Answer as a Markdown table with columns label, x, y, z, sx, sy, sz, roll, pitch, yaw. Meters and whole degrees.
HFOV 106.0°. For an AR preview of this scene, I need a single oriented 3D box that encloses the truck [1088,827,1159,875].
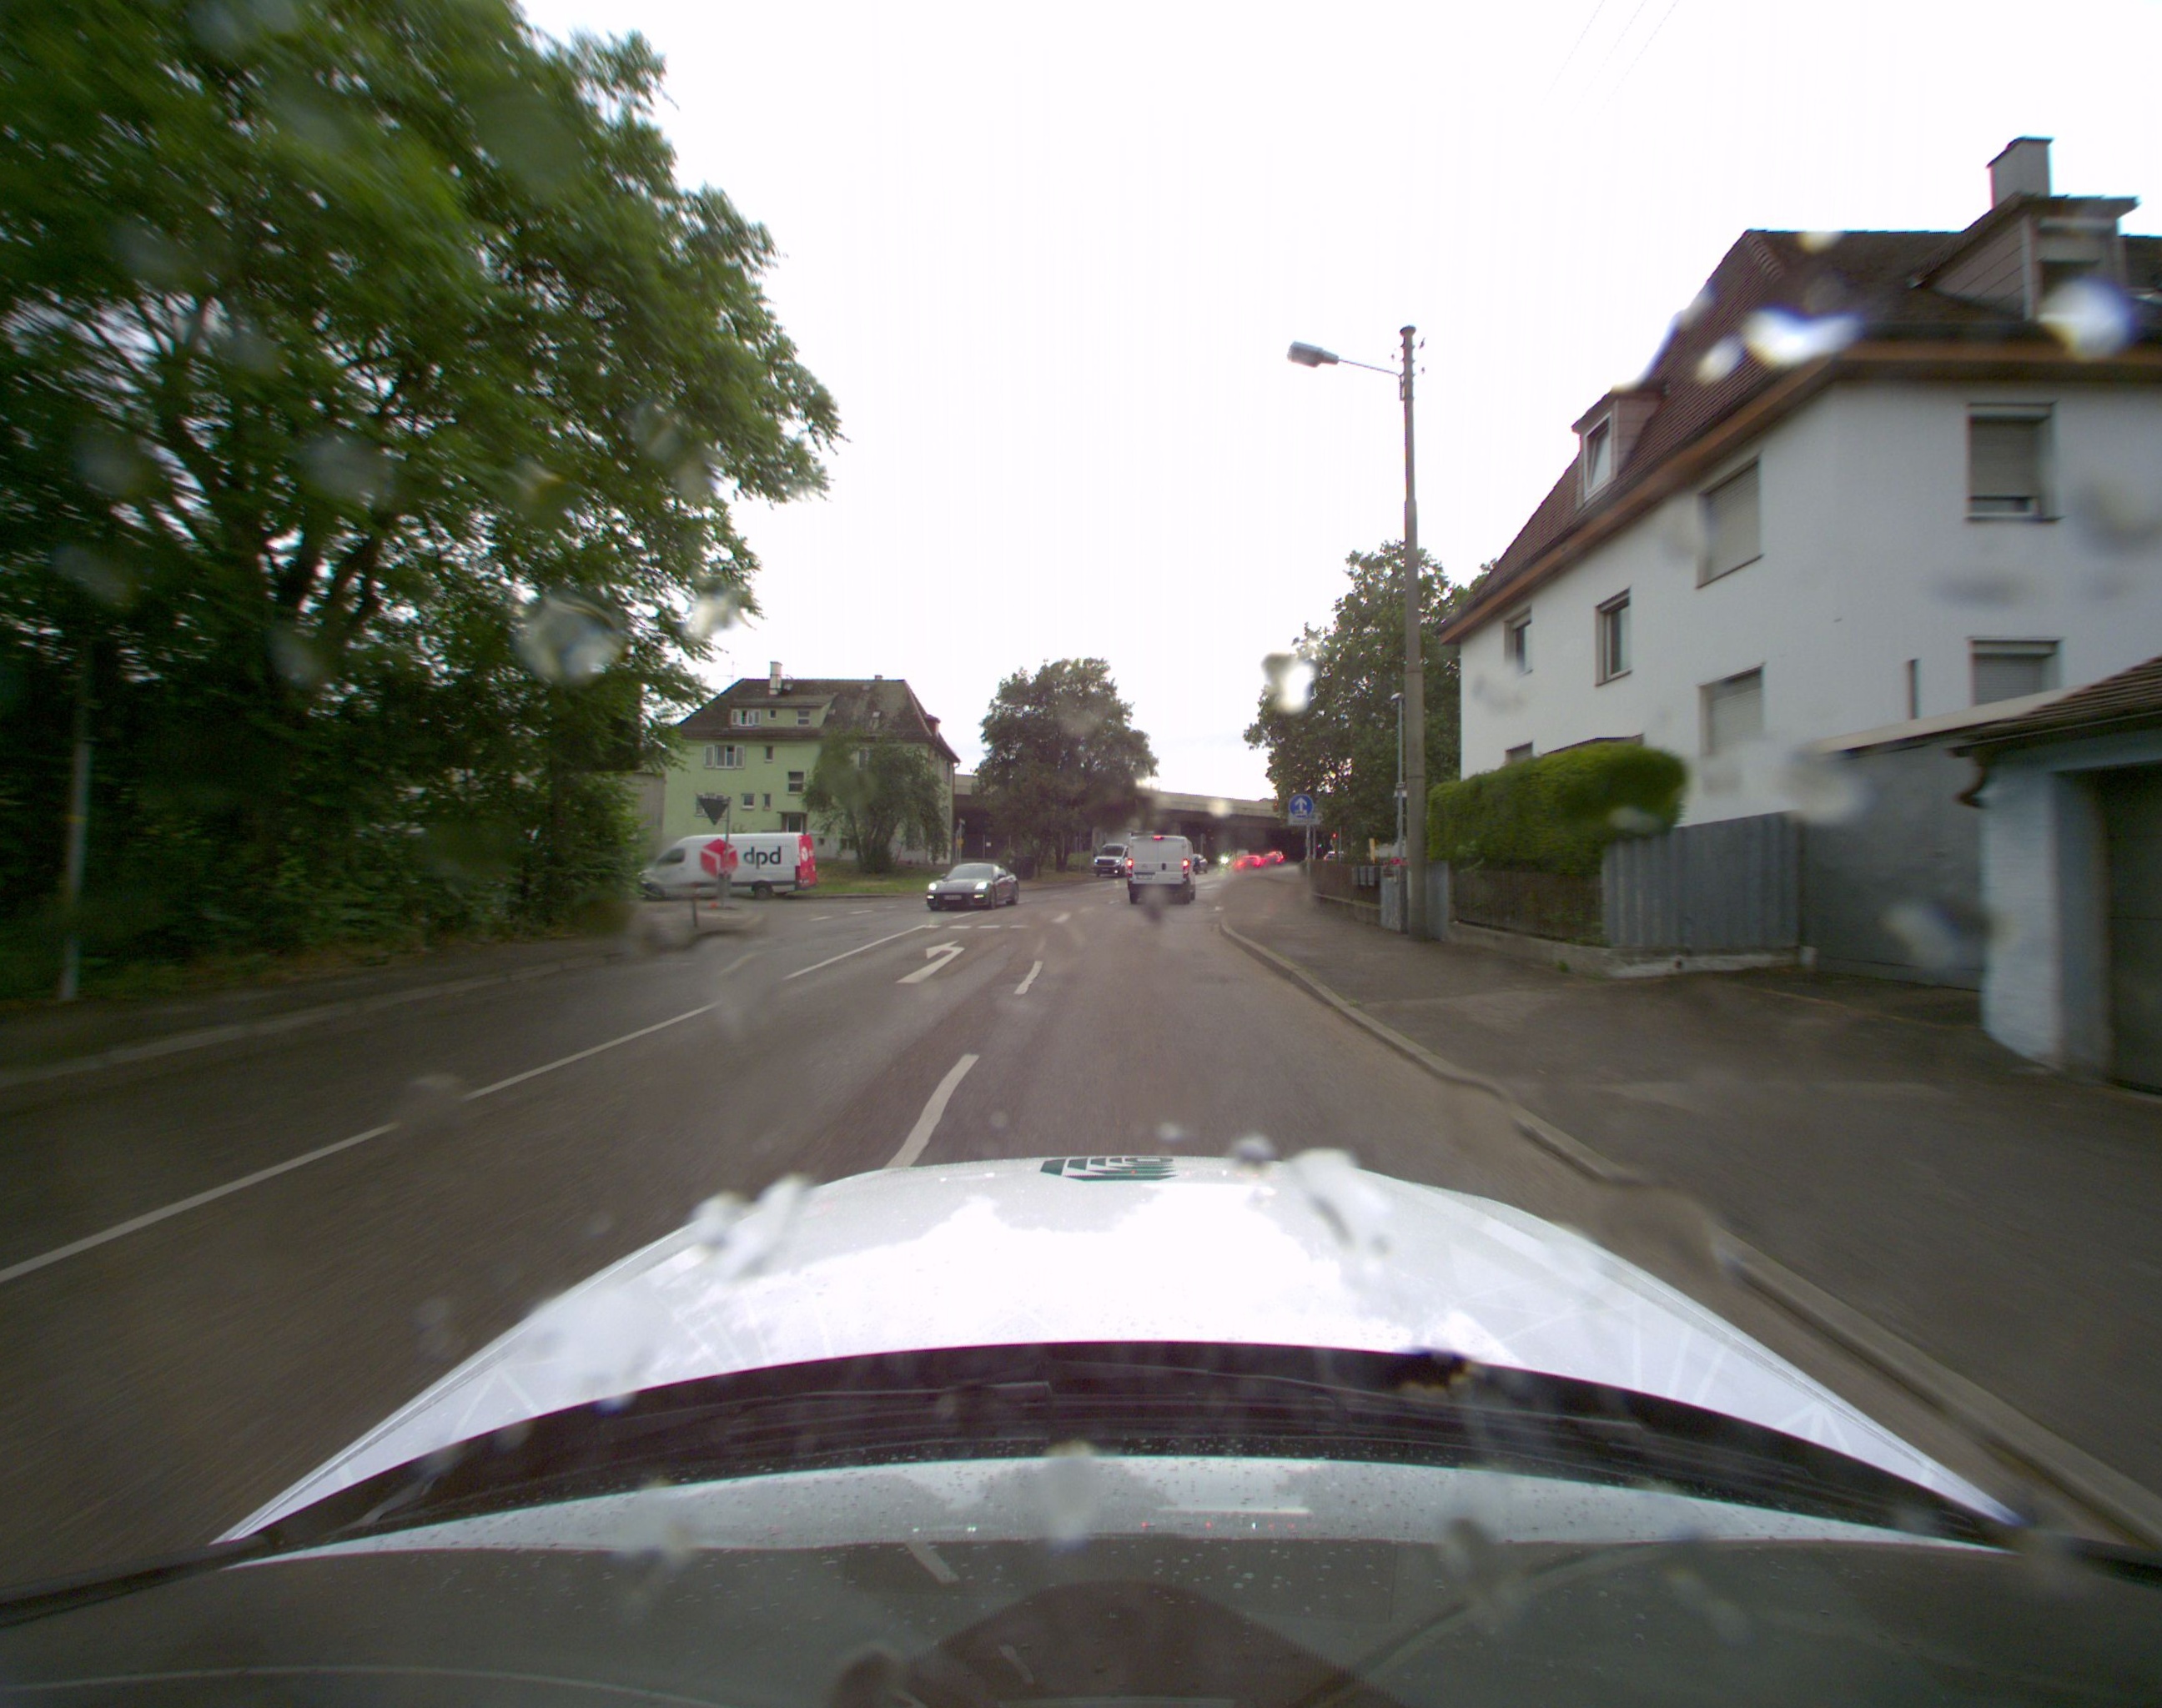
| label | x | y | z | sx | sy | sz | roll | pitch | yaw |
| --- | --- | --- | --- | --- | --- | --- | --- | --- | --- |
| truck | 3.248 | -0.200 | 59.601 | 2.587 | 3.237 | 7.819 | -1 | 0 | 23 |

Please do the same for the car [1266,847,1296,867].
| label | x | y | z | sx | sy | sz | roll | pitch | yaw |
| --- | --- | --- | --- | --- | --- | --- | --- | --- | --- |
| car | 18.368 | 0.267 | 74.651 | 1.975 | 1.729 | 4.022 | -1 | -1 | 24 |

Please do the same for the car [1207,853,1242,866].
| label | x | y | z | sx | sy | sz | roll | pitch | yaw |
| --- | --- | --- | --- | --- | --- | --- | --- | --- | --- |
| car | 17.757 | 0.663 | 100.937 | 1.844 | 1.578 | 4.290 | -1 | 2 | -32 |

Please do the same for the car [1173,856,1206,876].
| label | x | y | z | sx | sy | sz | roll | pitch | yaw |
| --- | --- | --- | --- | --- | --- | --- | --- | --- | --- |
| car | 8.506 | 0.884 | 63.421 | 1.880 | 1.461 | 4.018 | -1 | 0 | 17 |

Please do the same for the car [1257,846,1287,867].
| label | x | y | z | sx | sy | sz | roll | pitch | yaw |
| --- | --- | --- | --- | --- | --- | --- | --- | --- | --- |
| car | 16.161 | 0.237 | 68.840 | 1.976 | 1.729 | 4.020 | -1 | -1 | 21 |

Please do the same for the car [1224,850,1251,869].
| label | x | y | z | sx | sy | sz | roll | pitch | yaw |
| --- | --- | --- | --- | --- | --- | --- | --- | --- | --- |
| car | 16.634 | 0.580 | 86.353 | 1.940 | 1.931 | 4.709 | -1 | 0 | 22 |

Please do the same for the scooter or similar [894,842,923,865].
| label | x | y | z | sx | sy | sz | roll | pitch | yaw |
| --- | --- | --- | --- | --- | --- | --- | --- | --- | --- |
| scooter or similar | -9.985 | -0.026 | 47.247 | 1.509 | 1.273 | 0.532 | 3 | 0 | 16 |

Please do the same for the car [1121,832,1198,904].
| label | x | y | z | sx | sy | sz | roll | pitch | yaw |
| --- | --- | --- | --- | --- | --- | --- | --- | --- | --- |
| car | 2.923 | 0.425 | 29.114 | 2.291 | 2.343 | 5.297 | -1 | 1 | 10 |

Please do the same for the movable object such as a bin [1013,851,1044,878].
| label | x | y | z | sx | sy | sz | roll | pitch | yaw |
| --- | --- | --- | --- | --- | --- | --- | --- | --- | --- |
| movable object such as a bin | -3.145 | 0.633 | 48.340 | 1.296 | 1.437 | 1.451 | 3 | 4 | -26 |

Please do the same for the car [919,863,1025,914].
| label | x | y | z | sx | sy | sz | roll | pitch | yaw |
| --- | --- | --- | --- | --- | --- | --- | --- | --- | --- |
| car | -3.312 | 1.035 | 25.848 | 1.981 | 1.443 | 4.788 | -1 | -1 | 10 |

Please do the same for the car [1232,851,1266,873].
| label | x | y | z | sx | sy | sz | roll | pitch | yaw |
| --- | --- | --- | --- | --- | --- | --- | --- | --- | --- |
| car | 12.056 | 0.601 | 58.389 | 1.978 | 1.513 | 4.018 | -1 | -1 | 18 |

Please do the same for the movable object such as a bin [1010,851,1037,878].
| label | x | y | z | sx | sy | sz | roll | pitch | yaw |
| --- | --- | --- | --- | --- | --- | --- | --- | --- | --- |
| movable object such as a bin | -3.535 | 0.641 | 49.759 | 1.102 | 1.437 | 1.451 | 3 | 4 | -26 |

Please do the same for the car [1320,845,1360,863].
| label | x | y | z | sx | sy | sz | roll | pitch | yaw |
| --- | --- | --- | --- | --- | --- | --- | --- | --- | --- |
| car | 21.953 | 0.012 | 68.991 | 1.974 | 1.549 | 4.025 | -1 | -1 | 36 |

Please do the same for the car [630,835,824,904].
| label | x | y | z | sx | sy | sz | roll | pitch | yaw |
| --- | --- | --- | --- | --- | --- | --- | --- | --- | --- |
| car | -14.157 | 0.611 | 32.852 | 6.777 | 2.655 | 2.263 | 0 | -1 | 1 |
